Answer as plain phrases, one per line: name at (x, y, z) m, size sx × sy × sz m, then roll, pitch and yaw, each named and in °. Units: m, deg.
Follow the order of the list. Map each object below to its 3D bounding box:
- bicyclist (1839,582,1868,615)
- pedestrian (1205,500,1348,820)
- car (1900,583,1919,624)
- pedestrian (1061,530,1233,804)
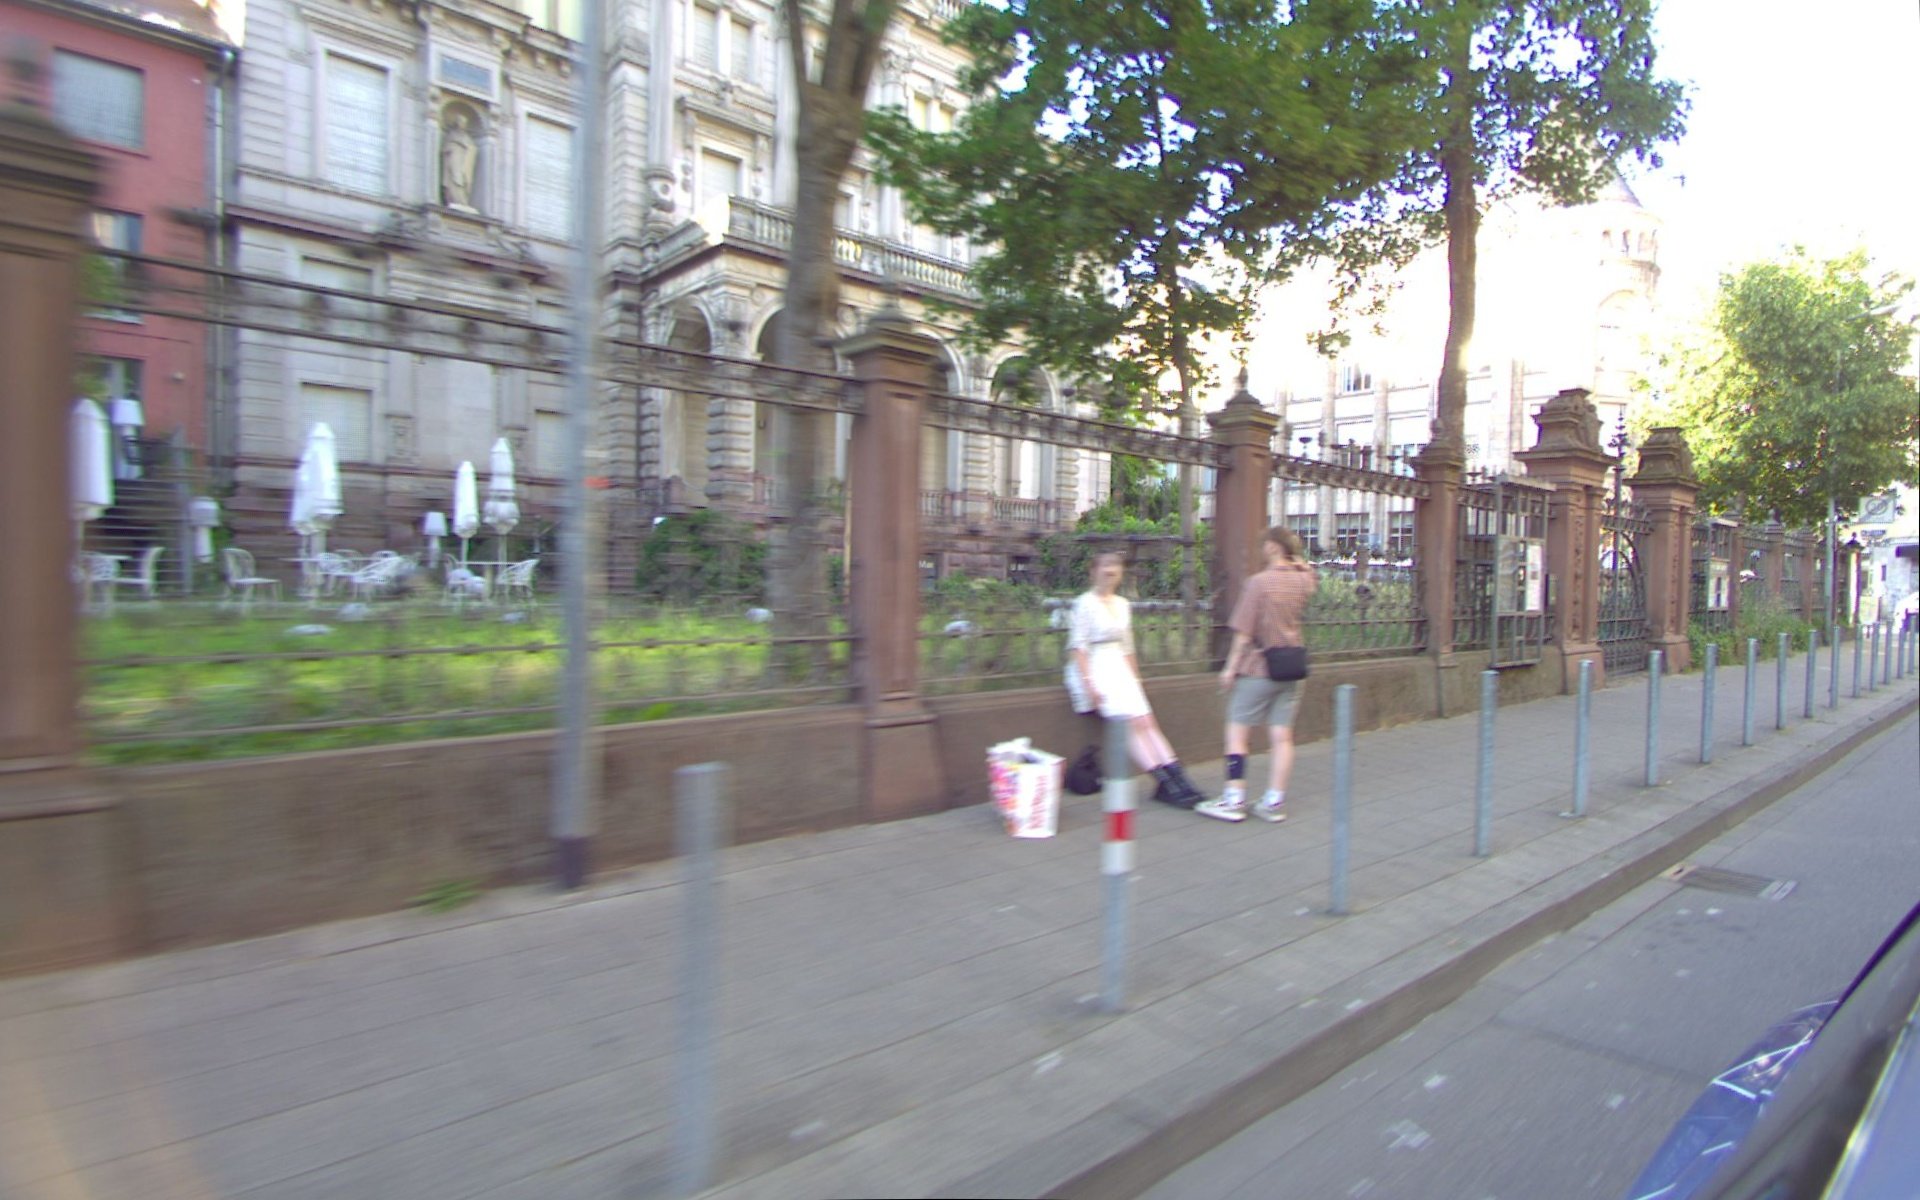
bicyclist at (43.663, -0.083, 49.471) m, size 0.650 × 1.590 × 0.861 m, roll 0°, pitch 2°, yaw 10°
pedestrian at (1.775, 0.298, 5.671) m, size 0.484 × 1.678 × 0.609 m, roll 4°, pitch 3°, yaw 42°
car at (34.371, 0.161, 34.729) m, size 1.982 × 1.439 × 4.415 m, roll 1°, pitch 2°, yaw 28°
pedestrian at (1.120, 0.353, 6.097) m, size 0.749 × 1.518 × 0.609 m, roll 4°, pitch 3°, yaw 44°
